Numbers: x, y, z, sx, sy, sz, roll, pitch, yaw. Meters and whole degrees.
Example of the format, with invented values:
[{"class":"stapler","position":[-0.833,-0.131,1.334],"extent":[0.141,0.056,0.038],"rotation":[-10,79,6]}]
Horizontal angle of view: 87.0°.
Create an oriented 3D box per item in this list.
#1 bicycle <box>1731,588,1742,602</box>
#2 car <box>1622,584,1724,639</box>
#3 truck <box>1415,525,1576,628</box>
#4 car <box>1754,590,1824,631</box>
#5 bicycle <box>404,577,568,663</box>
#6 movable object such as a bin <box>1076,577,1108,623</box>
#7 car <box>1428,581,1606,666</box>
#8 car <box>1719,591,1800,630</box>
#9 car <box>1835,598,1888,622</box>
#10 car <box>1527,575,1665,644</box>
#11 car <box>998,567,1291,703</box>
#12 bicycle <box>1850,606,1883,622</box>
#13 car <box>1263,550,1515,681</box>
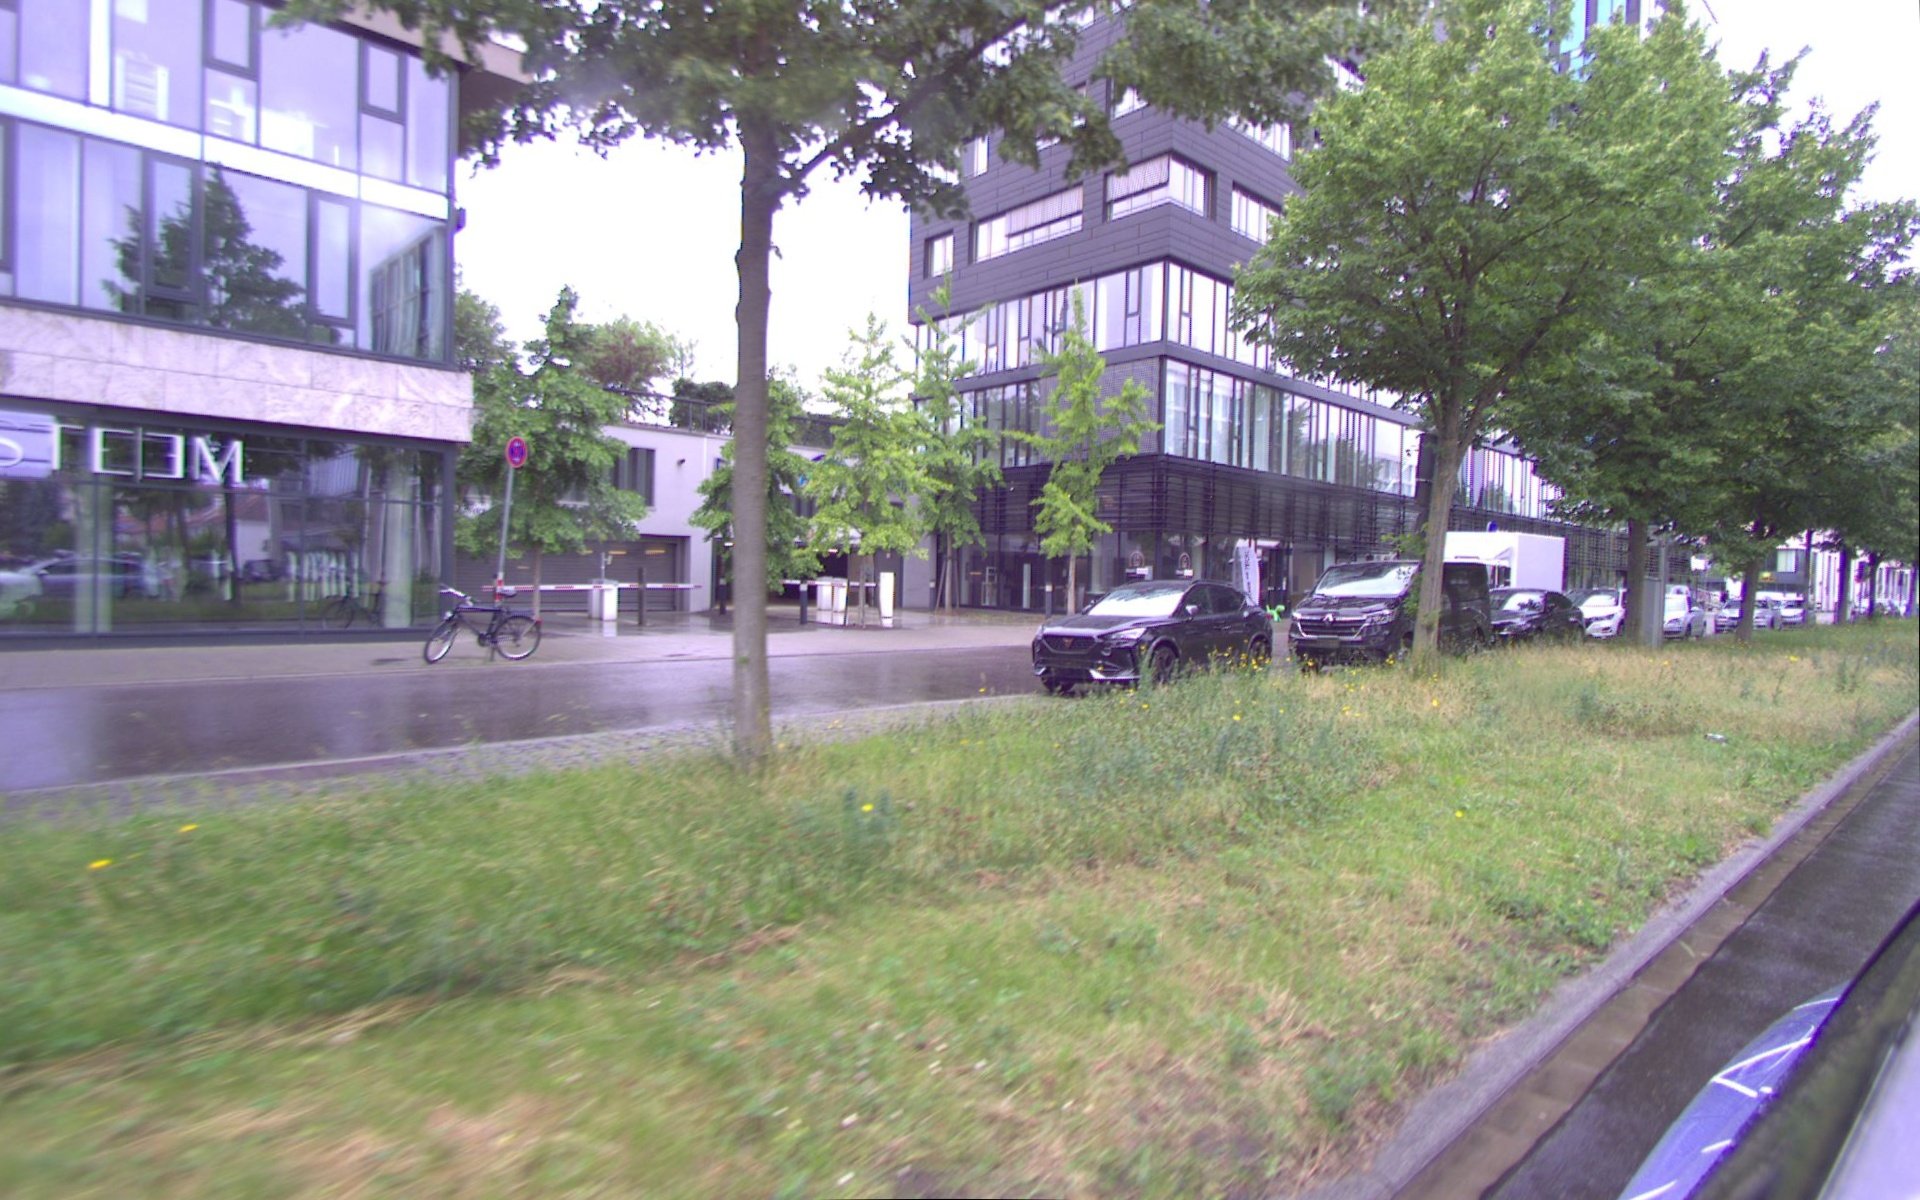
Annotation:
[{"class":"bicycle","position":[53.730,-0.331,70.040],"extent":[0.436,0.909,1.212],"rotation":[2,-1,43]},{"class":"car","position":[21.944,0.409,31.079],"extent":[4.645,1.471,1.770],"rotation":[4,-4,-45]},{"class":"truck","position":[20.458,-0.838,38.381],"extent":[3.026,3.484,8.409],"rotation":[2,1,45]},{"class":"car","position":[36.815,0.483,44.912],"extent":[4.029,1.616,1.764],"rotation":[3,-1,-42]},{"class":"bicycle","position":[-6.648,0.266,14.272],"extent":[2.027,1.144,0.519],"rotation":[1,1,-40]},{"class":"movable object such as a bin","position":[3.819,0.007,29.253],"extent":[0.608,1.292,0.638],"rotation":[2,-1,44]},{"class":"car","position":[12.440,0.519,22.468],"extent":[4.872,1.690,1.996],"rotation":[2,-1,-42]},{"class":"car","position":[32.532,0.400,41.132],"extent":[1.995,1.462,5.152],"rotation":[2,1,45]},{"class":"car","position":[58.614,0.640,65.768],"extent":[4.873,1.473,1.997],"rotation":[1,1,-42]},{"class":"car","position":[17.073,0.245,27.076],"extent":[4.643,1.690,1.996],"rotation":[1,0,-43]},{"class":"car","position":[2.689,0.377,13.935],"extent":[1.955,1.531,4.415],"rotation":[2,2,42]},{"class":"bicycle","position":[53.674,0.816,59.936],"extent":[0.424,0.929,1.464],"rotation":[3,0,-10]},{"class":"car","position":[7.626,0.310,17.734],"extent":[4.939,1.977,1.998],"rotation":[3,-1,-40]}]
